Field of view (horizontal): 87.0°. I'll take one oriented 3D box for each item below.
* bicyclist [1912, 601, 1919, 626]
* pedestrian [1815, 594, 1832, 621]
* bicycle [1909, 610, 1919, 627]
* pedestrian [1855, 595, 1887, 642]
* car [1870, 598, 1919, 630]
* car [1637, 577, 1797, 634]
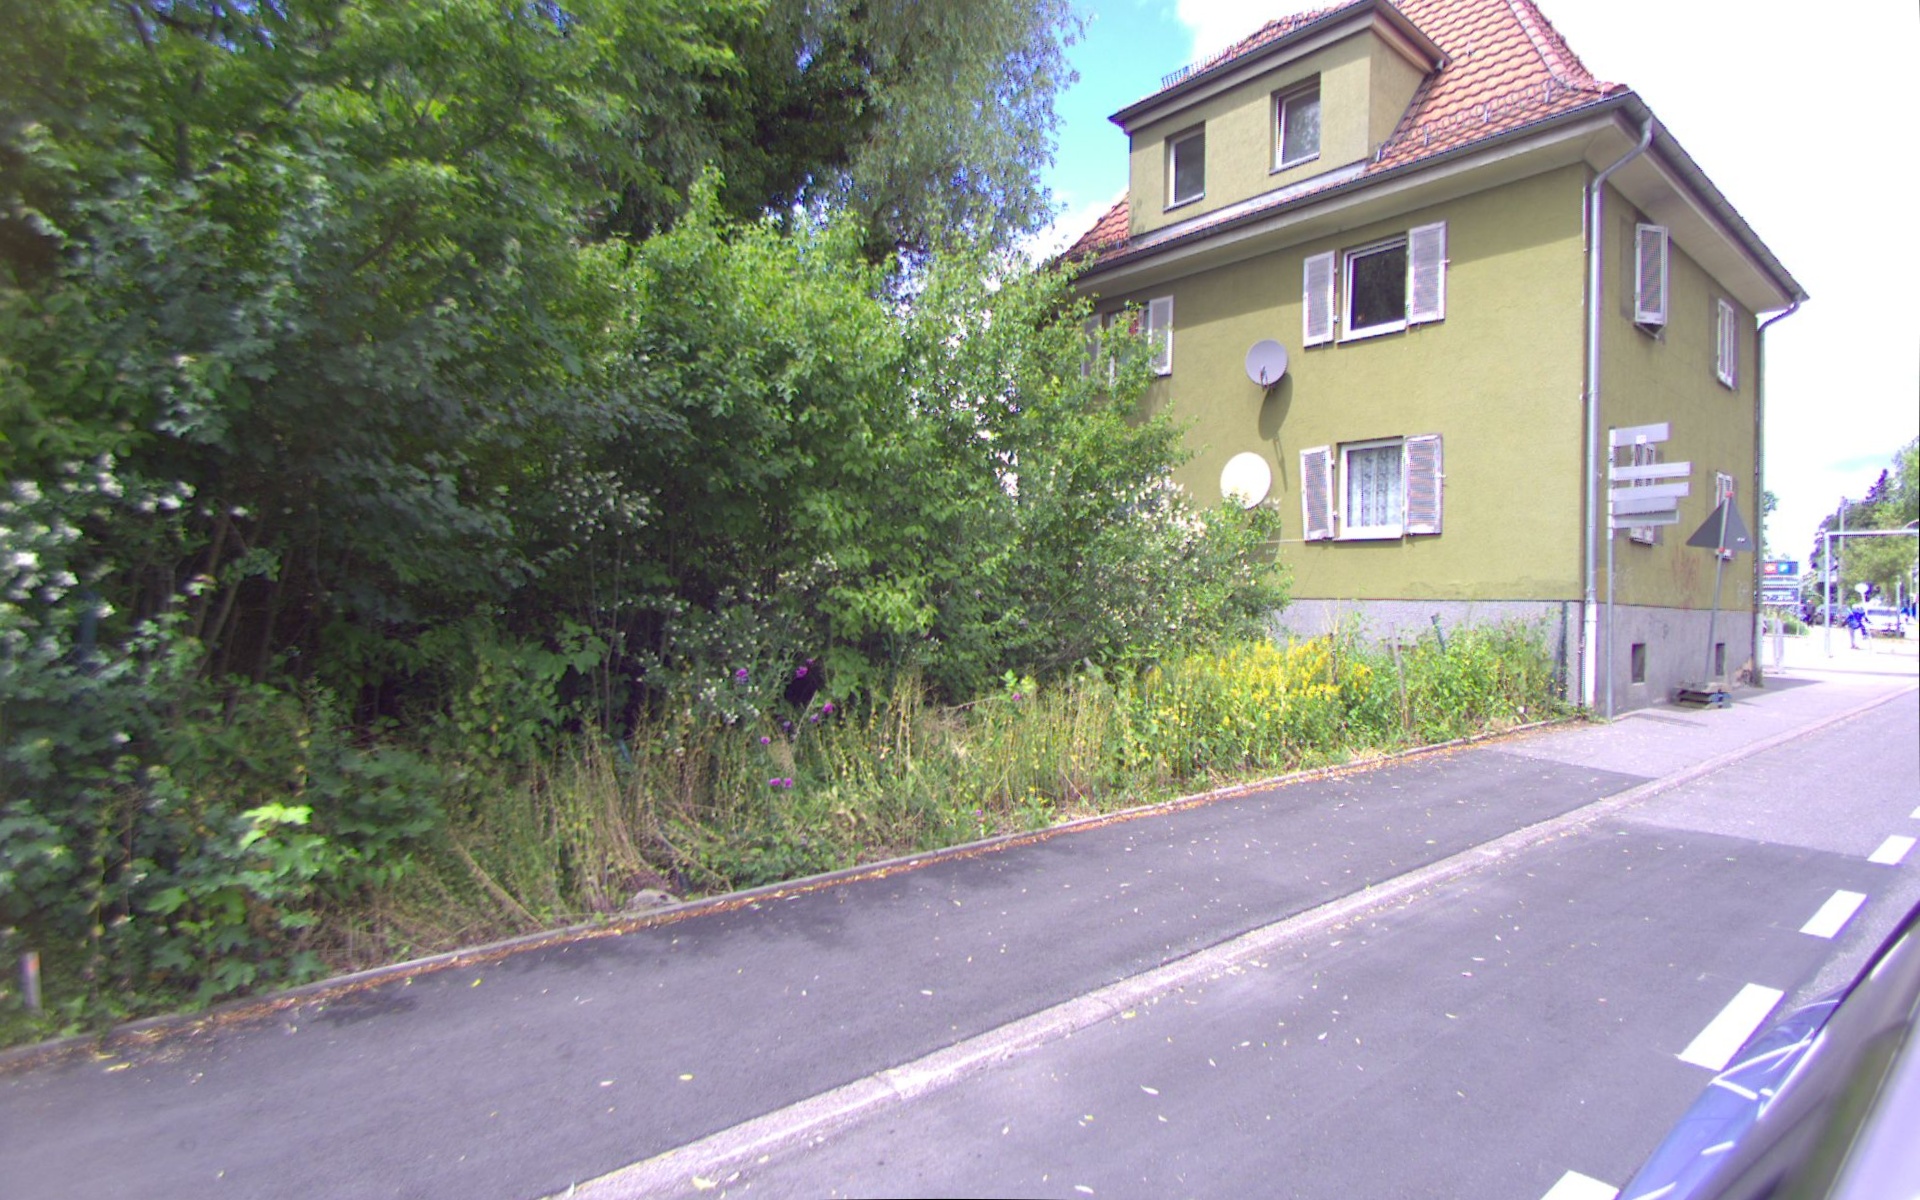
[{"bbox_3d":[64.285,0.883,67.544,0.799,1.629,0.765,-1,-2,25],"label":"bicyclist"},{"bbox_3d":[55.008,0.479,64.473,0.765,1.683,0.721,1,-3,-45],"label":"pedestrian"},{"bbox_3d":[64.304,1.224,67.557,0.805,1.122,1.785,-1,-1,24],"label":"bicycle"},{"bbox_3d":[31.030,0.615,34.482,0.726,1.572,1.042,1,0,39],"label":"pedestrian"},{"bbox_3d":[47.594,0.681,51.285,3.931,1.529,1.797,0,2,-42],"label":"car"},{"bbox_3d":[28.253,0.151,37.904,1.961,2.019,4.374,0,1,-32],"label":"car"}]
